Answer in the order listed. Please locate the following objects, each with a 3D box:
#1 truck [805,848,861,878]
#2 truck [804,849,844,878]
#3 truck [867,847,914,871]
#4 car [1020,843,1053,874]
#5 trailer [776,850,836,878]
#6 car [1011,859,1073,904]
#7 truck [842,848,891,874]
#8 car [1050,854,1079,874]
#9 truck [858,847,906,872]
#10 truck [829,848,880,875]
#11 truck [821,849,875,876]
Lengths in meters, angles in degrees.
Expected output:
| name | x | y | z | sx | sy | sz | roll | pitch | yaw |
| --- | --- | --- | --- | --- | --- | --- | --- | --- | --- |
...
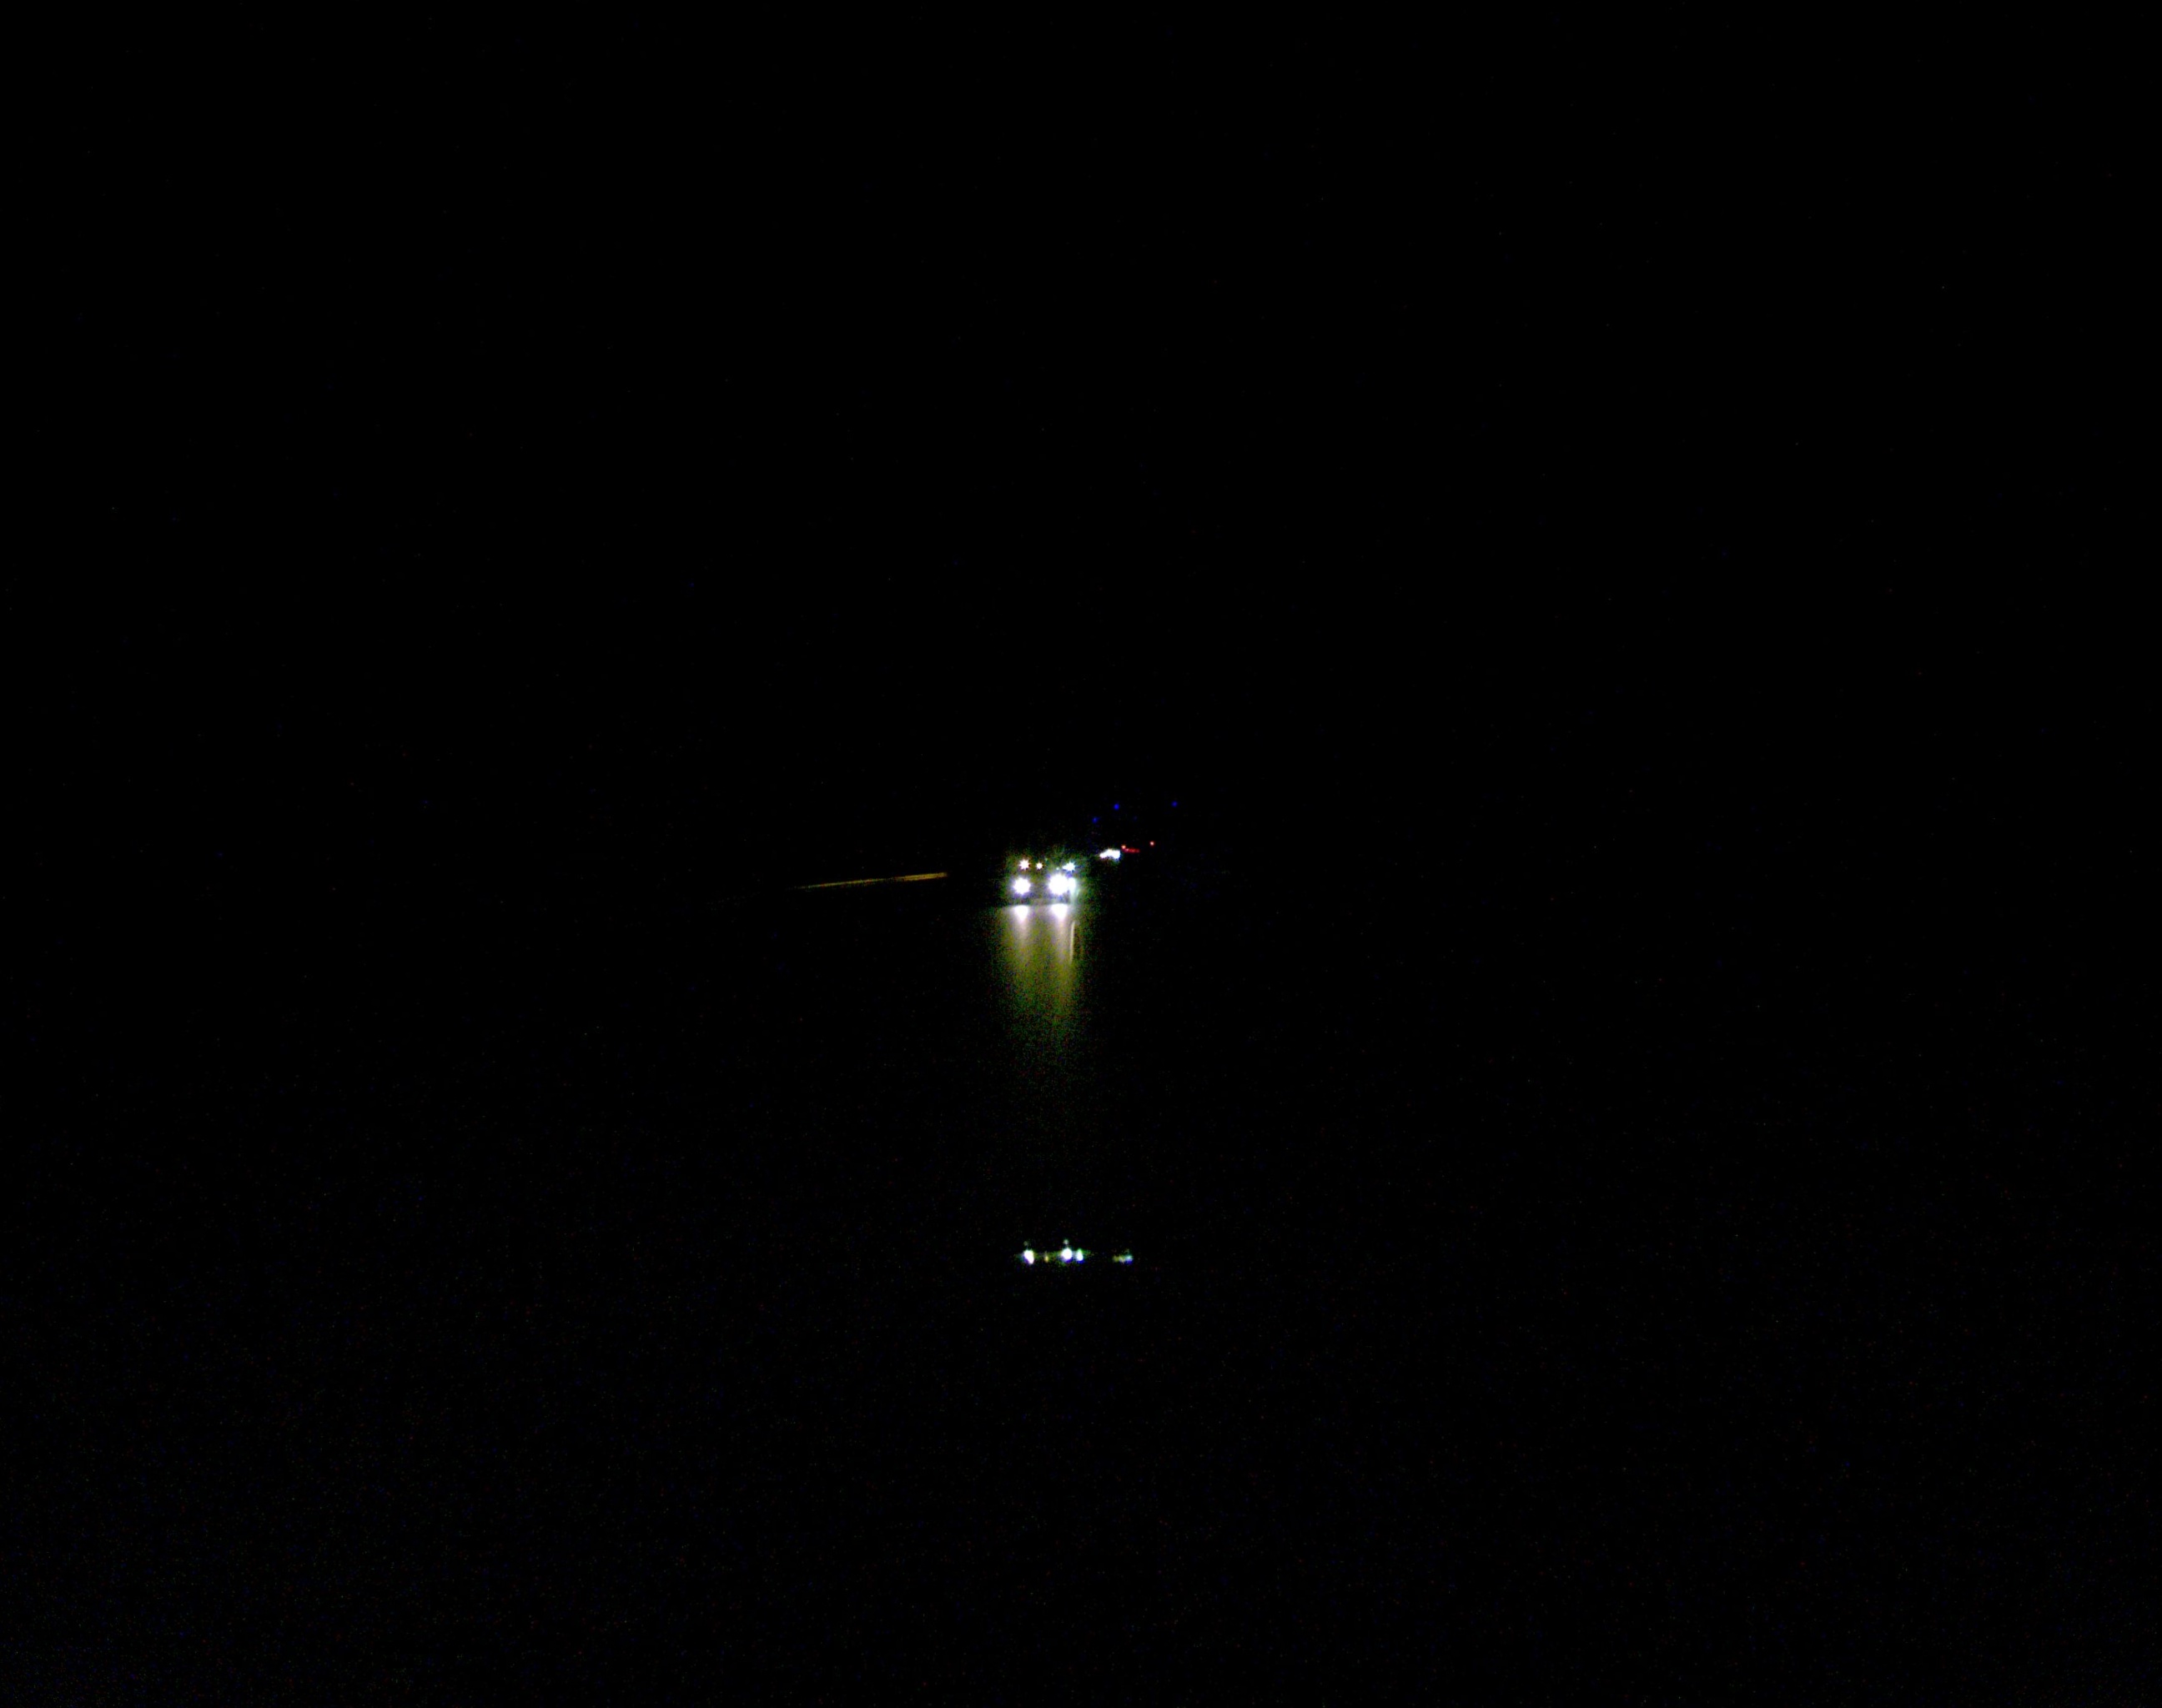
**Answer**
| name | x | y | z | sx | sy | sz | roll | pitch | yaw |
| --- | --- | --- | --- | --- | --- | --- | --- | --- | --- |
| truck | -35.561 | 1.295 | 108.732 | 9.637 | 3.902 | 3.066 | -2 | 1 | 43 |
| truck | -34.607 | 1.358 | 102.328 | 2.537 | 3.628 | 6.193 | -4 | 1 | -44 |
| truck | -33.316 | 0.935 | 132.660 | 9.637 | 3.902 | 3.066 | -2 | 1 | 43 |
| car | -4.418 | 0.401 | 76.161 | 2.533 | 2.888 | 6.228 | -2 | 0 | 2 |
| trailer | -38.661 | 1.486 | 106.471 | 2.547 | 3.643 | 12.962 | -4 | 1 | -45 |
| car | -1.338 | 0.935 | 27.626 | 1.833 | 1.404 | 4.000 | -2 | 0 | 2 |
| truck | -35.315 | 1.117 | 125.022 | 9.637 | 3.902 | 3.066 | -2 | 1 | 43 |
| car | -1.293 | 0.766 | 61.078 | 1.998 | 1.455 | 4.000 | -2 | 0 | 2 |
| truck | -33.717 | 0.999 | 128.444 | 9.637 | 3.902 | 2.965 | -2 | 1 | 43 |
| truck | -35.634 | 1.189 | 119.536 | 9.637 | 3.902 | 3.066 | -2 | 1 | 43 |
| truck | -34.932 | 1.330 | 113.647 | 9.637 | 3.667 | 3.066 | -2 | 1 | 43 |
